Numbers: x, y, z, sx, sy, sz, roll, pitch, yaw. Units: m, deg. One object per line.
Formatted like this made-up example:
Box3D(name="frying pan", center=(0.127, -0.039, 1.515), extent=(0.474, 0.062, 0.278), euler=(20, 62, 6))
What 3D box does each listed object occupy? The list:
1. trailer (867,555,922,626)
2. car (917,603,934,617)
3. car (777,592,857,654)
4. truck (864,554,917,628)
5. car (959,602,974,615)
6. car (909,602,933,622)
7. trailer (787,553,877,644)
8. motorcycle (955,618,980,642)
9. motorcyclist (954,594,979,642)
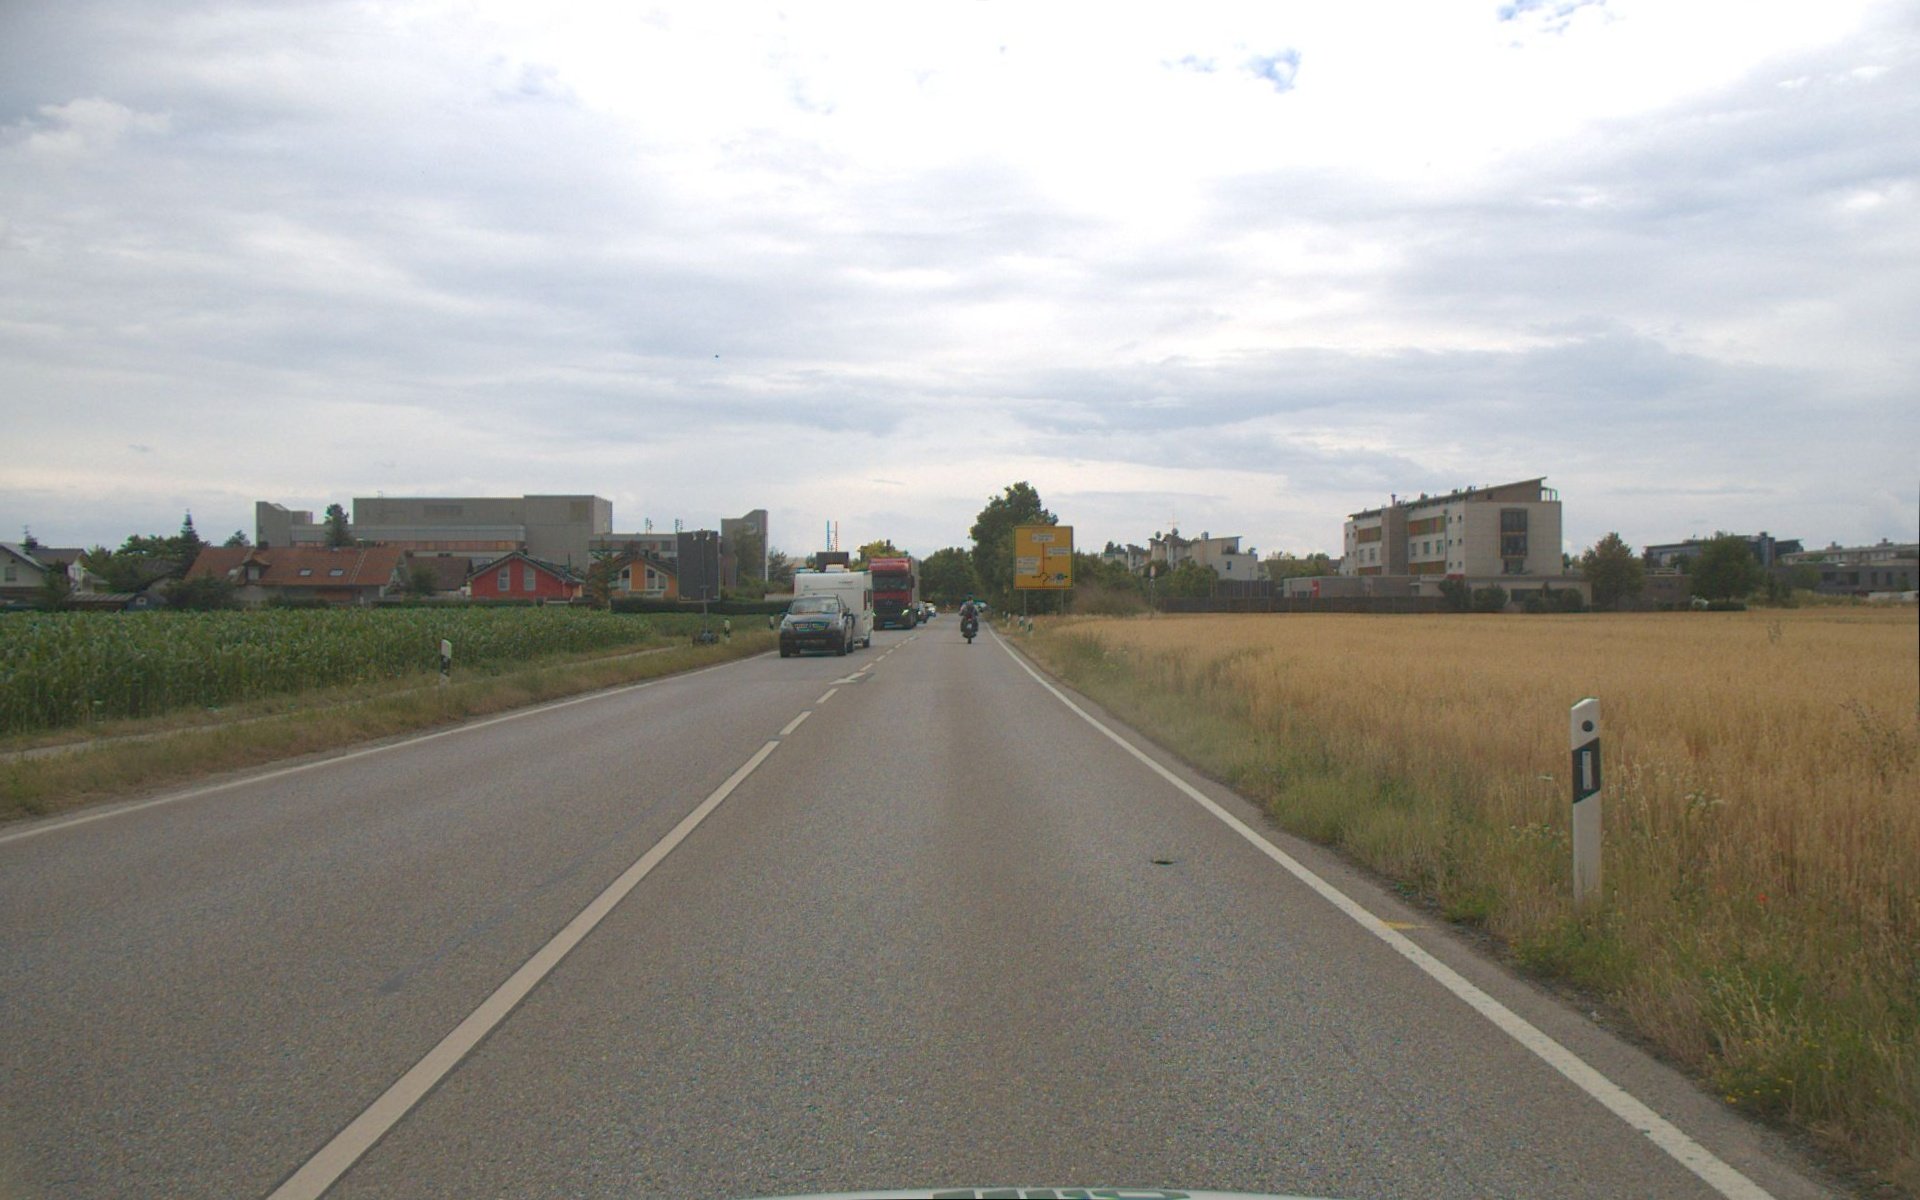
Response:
Box3D(name="trailer", center=(-3.896, -0.450, 101.884), extent=(2.673, 4.015, 13.781), euler=(-1, -1, 0))
Box3D(name="car", center=(-3.671, 1.087, 176.093), extent=(1.817, 1.498, 3.998), euler=(0, -1, -2))
Box3D(name="car", center=(-4.159, 0.671, 48.792), extent=(1.953, 1.729, 4.675), euler=(0, -1, 0))
Box3D(name="truck", center=(-3.964, -0.459, 95.489), extent=(2.673, 4.057, 6.816), euler=(-1, -1, 0))
Box3D(name="car", center=(0.784, 1.064, 207.517), extent=(1.817, 1.498, 4.000), euler=(0, -1, 0))
Box3D(name="car", center=(-2.941, 0.903, 124.045), extent=(1.817, 1.498, 3.998), euler=(0, -1, -2))
Box3D(name="trailer", center=(-4.142, -0.022, 54.717), extent=(2.276, 2.777, 7.843), euler=(0, -1, 1))
Box3D(name="motorcycle", center=(0.261, 1.115, 62.096), extent=(0.922, 0.905, 2.145), euler=(0, -1, 0))
Box3D(name="motorcyclist", center=(0.256, 0.670, 62.166), extent=(0.922, 1.780, 1.200), euler=(0, -1, 0))
